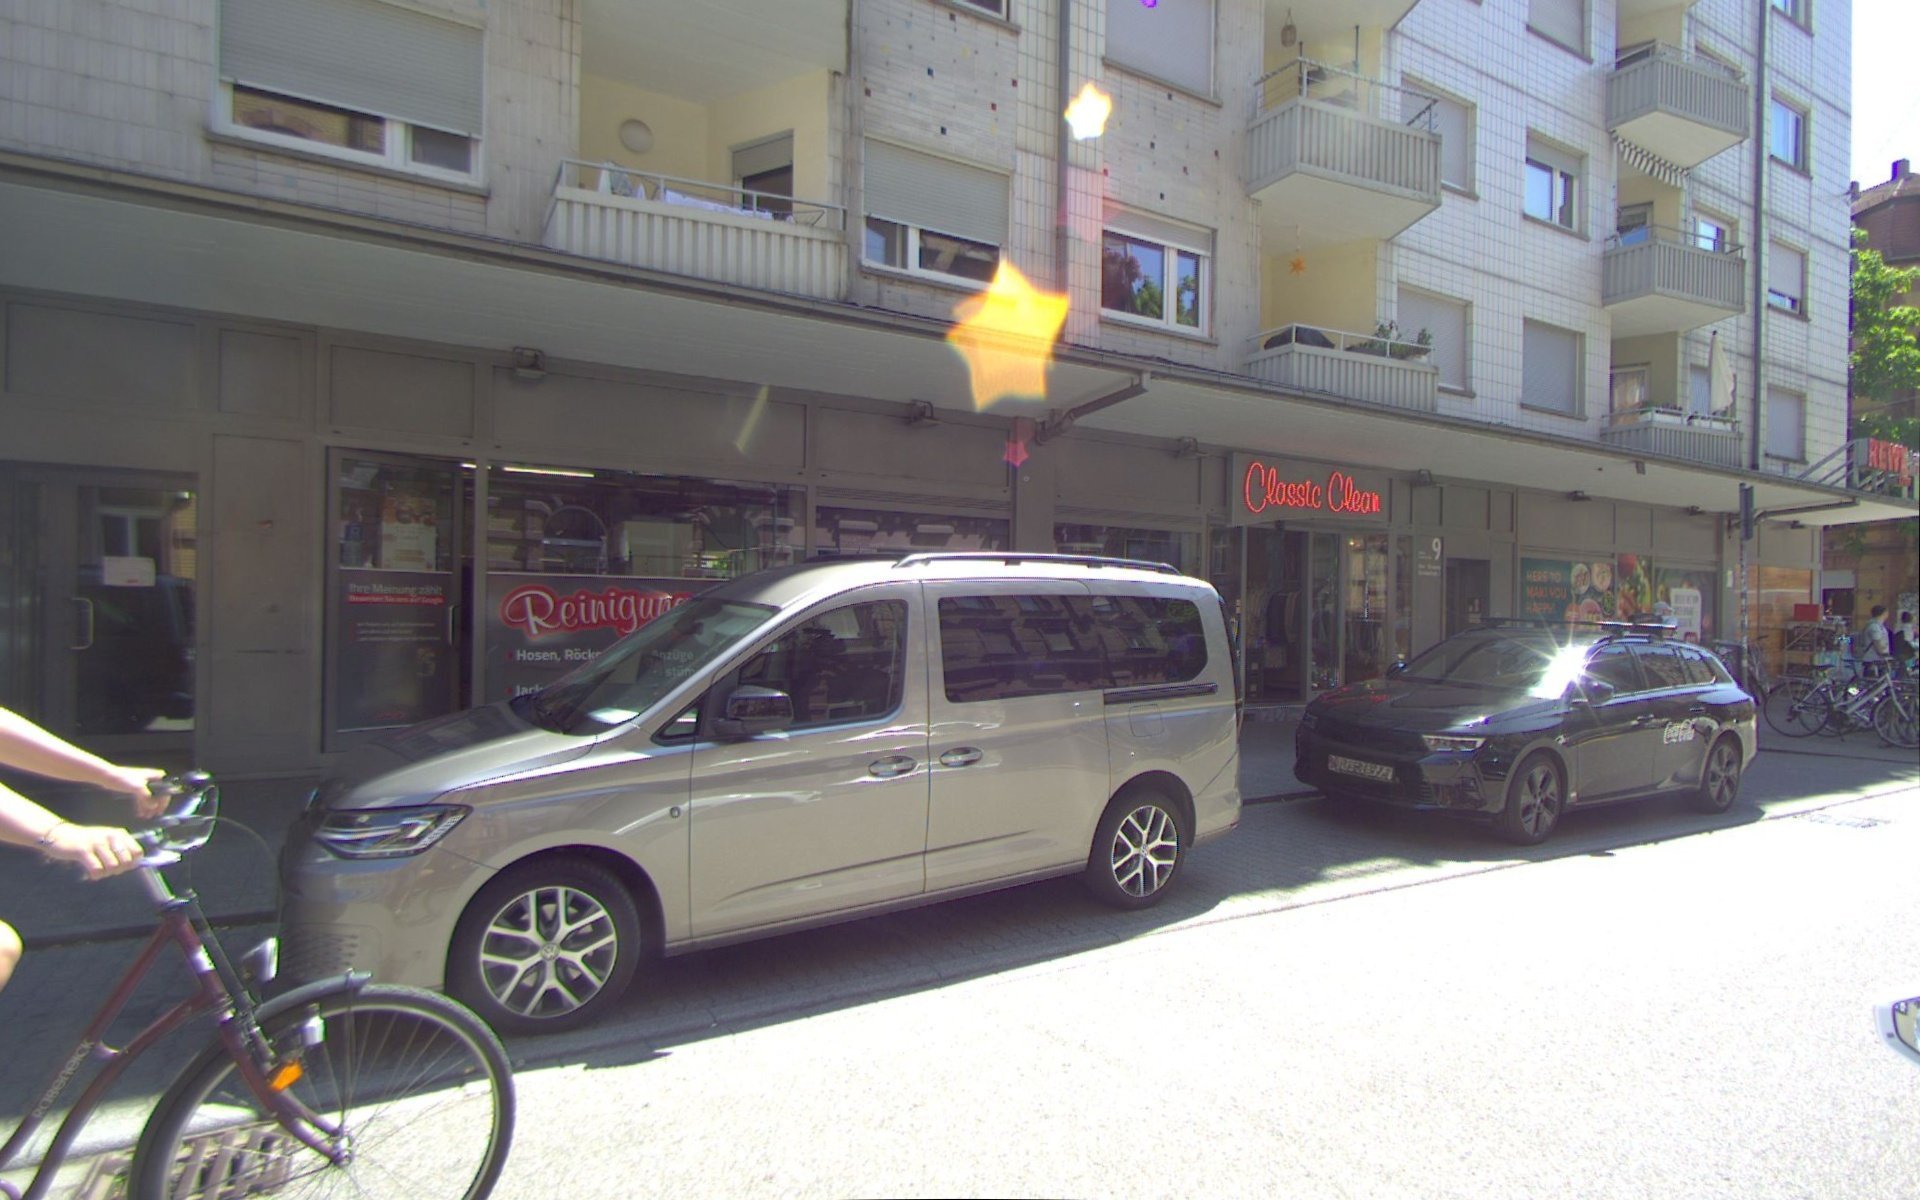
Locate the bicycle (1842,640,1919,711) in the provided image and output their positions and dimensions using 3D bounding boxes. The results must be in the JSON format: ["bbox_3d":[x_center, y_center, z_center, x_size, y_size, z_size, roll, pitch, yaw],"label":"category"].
[{"bbox_3d":[17.276,1.394,18.817,1.988,1.263,0.532,1,-1,-30],"label":"bicycle"}]

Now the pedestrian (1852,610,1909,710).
[{"bbox_3d":[17.241,1.107,18.812,0.927,1.821,0.527,1,-1,-30],"label":"pedestrian"}]

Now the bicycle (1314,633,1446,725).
[{"bbox_3d":[5.412,0.994,13.009,1.553,1.086,0.340,0,-1,44],"label":"bicycle"}]

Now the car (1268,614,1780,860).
[{"bbox_3d":[4.772,0.938,8.333,4.410,1.545,1.662,1,1,-30],"label":"car"}]

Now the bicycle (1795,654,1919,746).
[{"bbox_3d":[11.967,1.299,13.161,0.394,1.044,1.484,1,2,-33],"label":"bicycle"}]

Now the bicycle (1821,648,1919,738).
[{"bbox_3d":[12.914,1.282,13.847,0.332,1.132,1.510,1,2,-33],"label":"bicycle"}]

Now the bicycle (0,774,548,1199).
[{"bbox_3d":[-1.807,0.971,1.785,1.917,1.106,0.600,1,-1,-31],"label":"bicycle"}]

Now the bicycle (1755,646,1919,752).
[{"bbox_3d":[11.255,1.228,12.856,0.521,1.154,1.574,1,2,-33],"label":"bicycle"}]

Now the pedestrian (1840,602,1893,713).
[{"bbox_3d":[14.925,0.930,16.539,0.593,1.794,0.506,1,-1,-32],"label":"pedestrian"}]

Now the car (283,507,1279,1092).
[{"bbox_3d":[-0.633,0.653,5.171,4.648,1.835,1.778,1,1,-33],"label":"car"}]

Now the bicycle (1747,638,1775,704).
[{"bbox_3d":[14.356,1.252,17.998,0.317,1.101,1.425,1,1,41],"label":"bicycle"}]

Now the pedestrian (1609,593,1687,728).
[{"bbox_3d":[9.178,0.791,13.410,0.650,1.749,0.628,1,-1,-29],"label":"pedestrian"}]

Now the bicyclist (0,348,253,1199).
[{"bbox_3d":[-1.867,0.463,1.739,0.967,1.729,0.620,1,0,-30],"label":"bicyclist"}]

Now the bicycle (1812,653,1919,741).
[{"bbox_3d":[12.449,1.300,13.501,0.332,1.050,1.438,1,2,-33],"label":"bicycle"}]

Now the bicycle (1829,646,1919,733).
[{"bbox_3d":[13.523,1.284,14.174,0.572,1.138,1.786,1,1,-35],"label":"bicycle"}]
